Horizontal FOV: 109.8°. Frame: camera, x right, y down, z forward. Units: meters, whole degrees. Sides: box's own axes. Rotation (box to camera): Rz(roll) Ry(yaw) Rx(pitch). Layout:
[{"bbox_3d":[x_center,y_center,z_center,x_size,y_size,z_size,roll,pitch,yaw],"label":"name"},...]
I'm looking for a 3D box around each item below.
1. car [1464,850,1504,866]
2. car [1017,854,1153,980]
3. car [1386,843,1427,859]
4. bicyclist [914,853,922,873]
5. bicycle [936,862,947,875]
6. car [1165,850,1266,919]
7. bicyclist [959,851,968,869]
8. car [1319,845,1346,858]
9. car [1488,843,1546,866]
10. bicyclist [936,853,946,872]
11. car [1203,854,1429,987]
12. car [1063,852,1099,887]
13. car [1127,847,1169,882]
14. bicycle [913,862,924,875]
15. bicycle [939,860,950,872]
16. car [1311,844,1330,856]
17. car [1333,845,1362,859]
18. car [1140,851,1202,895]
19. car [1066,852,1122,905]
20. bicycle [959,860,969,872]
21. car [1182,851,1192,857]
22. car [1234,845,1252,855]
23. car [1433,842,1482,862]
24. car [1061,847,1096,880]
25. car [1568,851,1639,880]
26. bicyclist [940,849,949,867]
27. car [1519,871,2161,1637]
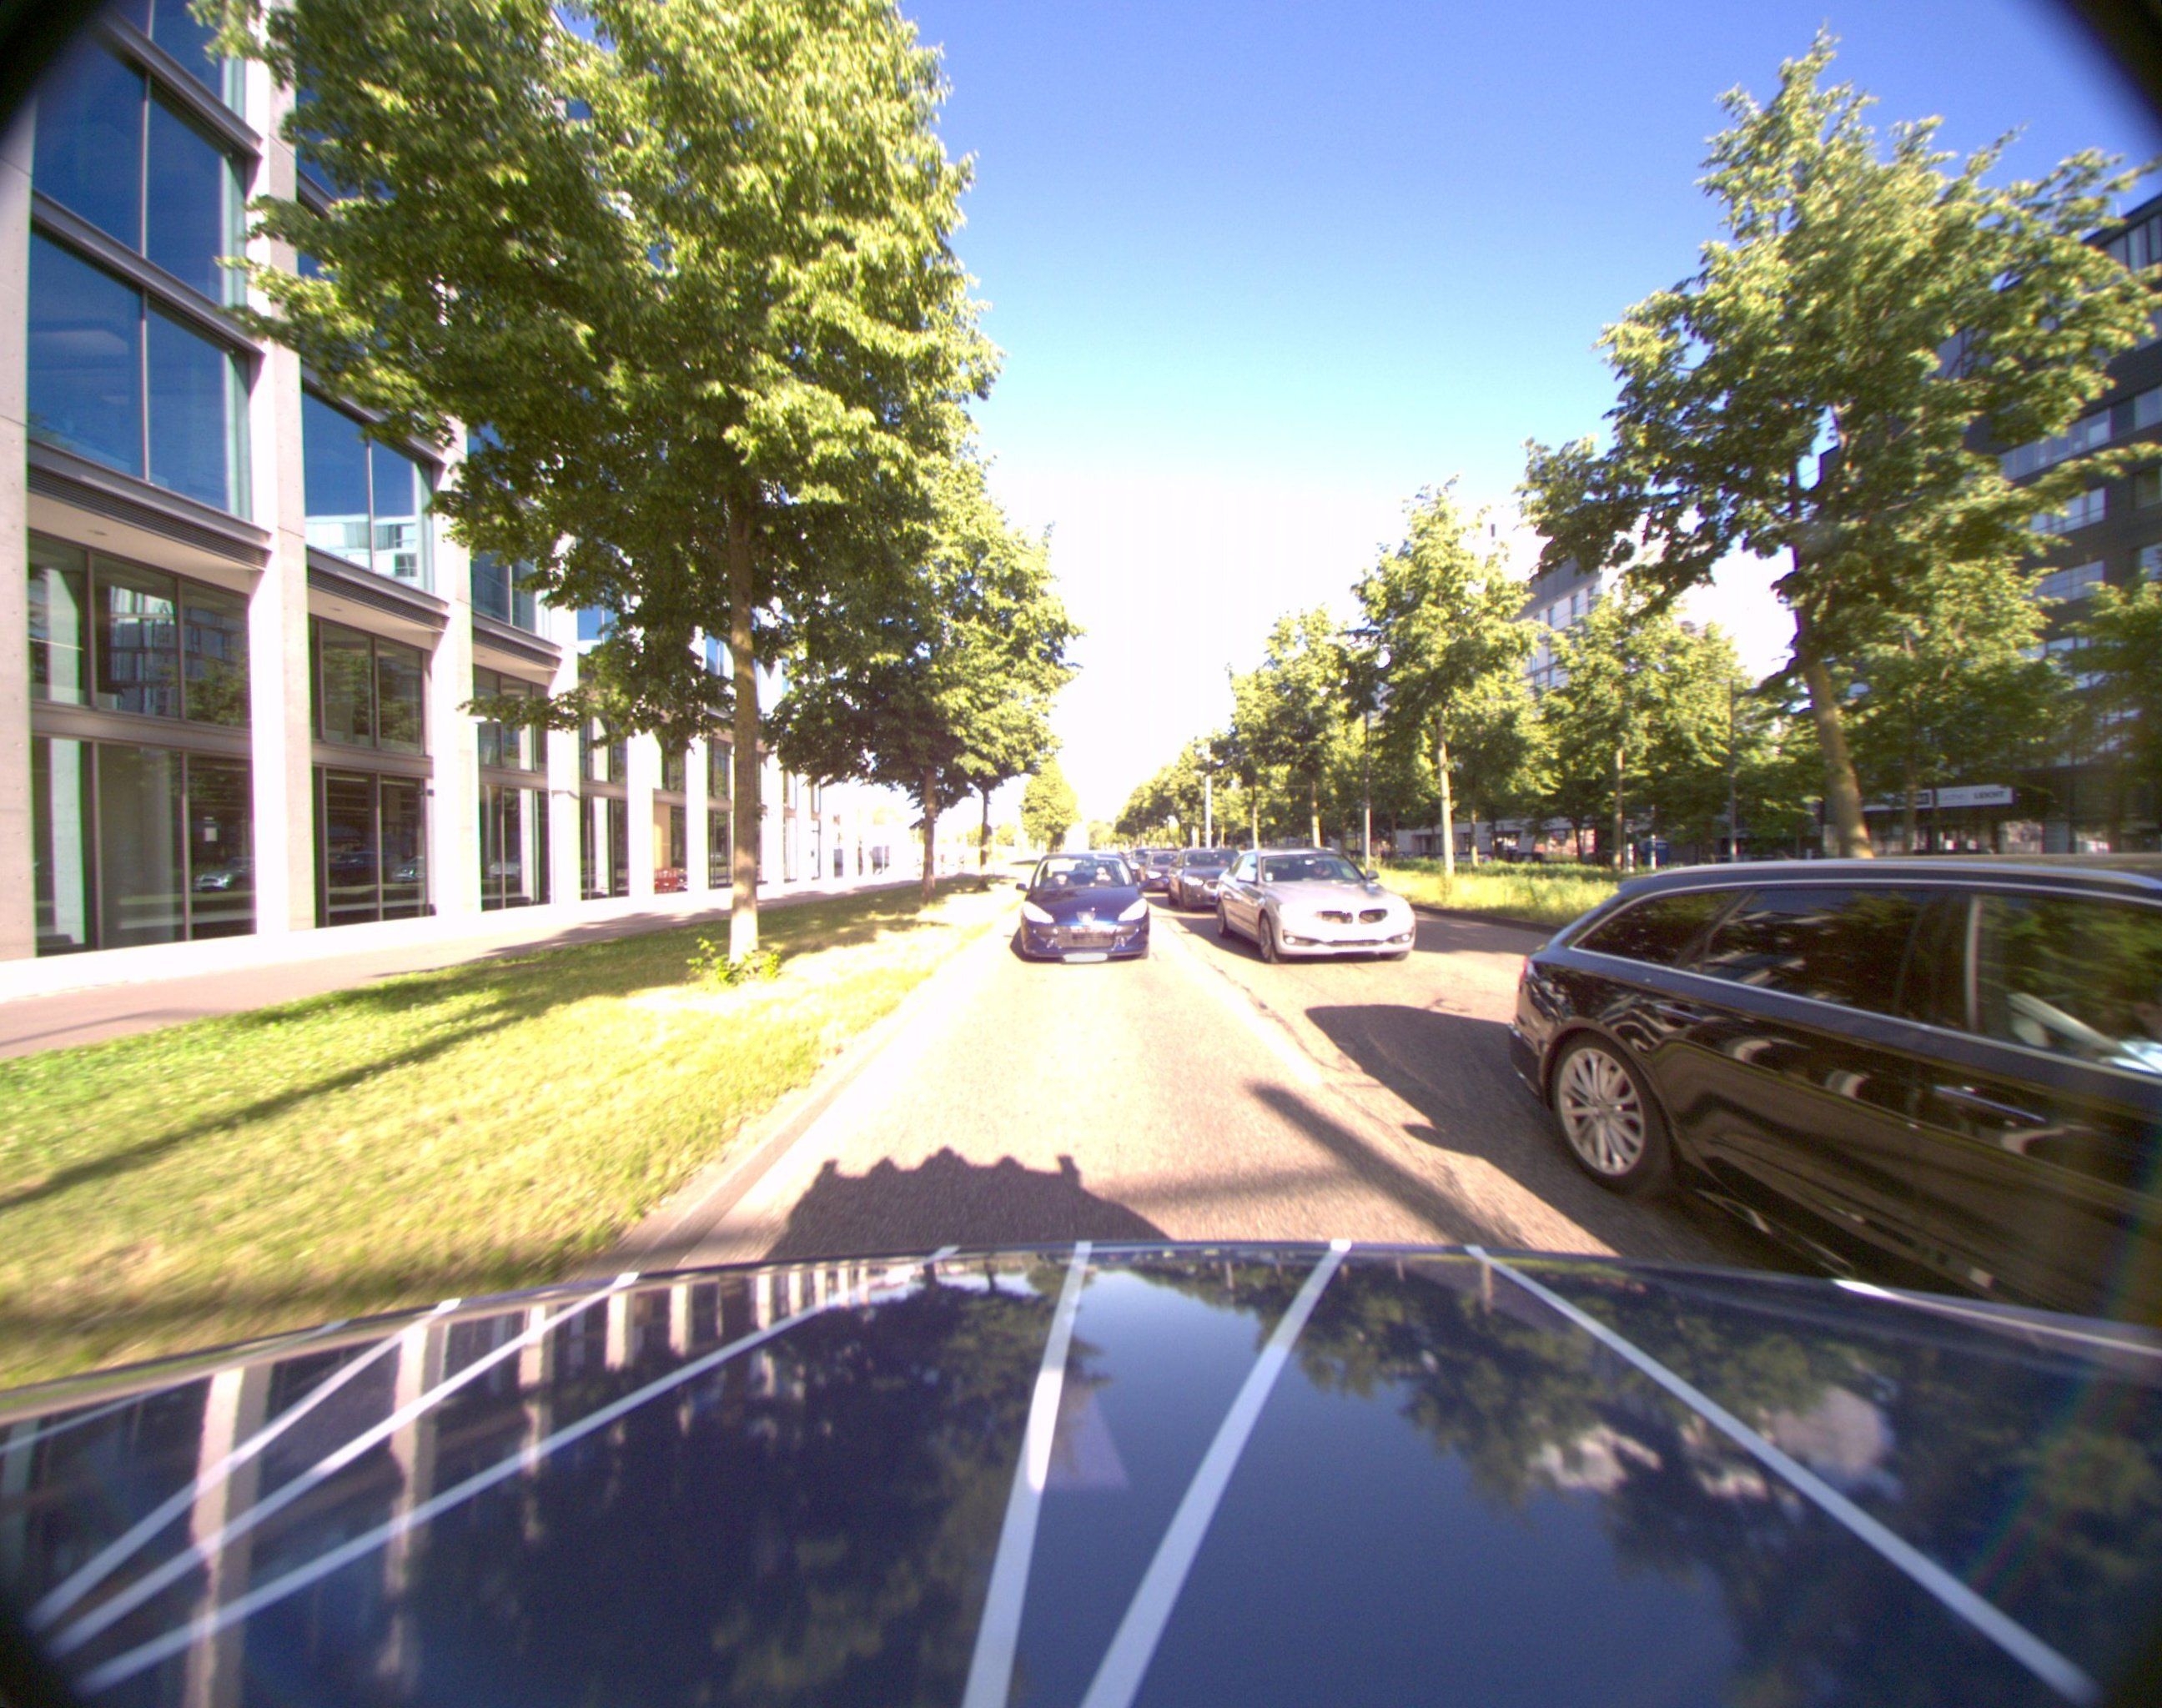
[{"bbox_3d":[38.969,0.355,73.615,1.757,1.496,3.999,0,1,0],"label":"car"},{"bbox_3d":[0.059,0.783,11.359,1.686,1.514,3.785,0,1,0],"label":"car"},{"bbox_3d":[34.345,-0.341,80.350,2.012,1.689,4.790,0,1,-3],"label":"car"},{"bbox_3d":[-10.825,0.575,50.470,0.448,1.282,0.418,-1,2,1],"label":"bicyclist"},{"bbox_3d":[-9.337,0.995,50.916,0.464,0.813,1.344,-1,1,1],"label":"bicycle"},{"bbox_3d":[3.214,0.674,18.920,1.812,1.514,4.028,0,1,0],"label":"car"},{"bbox_3d":[-8.603,0.425,55.682,0.534,1.282,0.521,-1,2,1],"label":"bicyclist"},{"bbox_3d":[34.234,-0.376,103.654,2.012,1.689,4.791,0,1,-1],"label":"car"},{"bbox_3d":[34.282,0.001,59.890,1.858,1.674,4.791,0,1,0],"label":"car"},{"bbox_3d":[-9.342,0.572,50.871,0.534,1.210,0.507,-1,2,1],"label":"bicyclist"},{"bbox_3d":[3.129,0.781,11.239,1.813,1.480,4.741,0,1,-1],"label":"car"},{"bbox_3d":[0.011,0.610,31.350,1.407,1.326,3.785,0,1,0],"label":"car"},{"bbox_3d":[3.204,0.484,36.989,1.812,1.581,4.164,0,1,1],"label":"car"},{"bbox_3d":[-10.806,0.959,50.522,0.415,0.813,1.320,-1,1,1],"label":"bicycle"},{"bbox_3d":[-9.946,0.889,55.338,0.464,0.813,1.344,-1,1,1],"label":"bicycle"},{"bbox_3d":[34.210,-0.529,108.542,1.601,1.659,3.743,0,1,0],"label":"car"},{"bbox_3d":[34.245,-0.278,97.848,2.012,1.689,4.791,0,1,-1],"label":"car"},{"bbox_3d":[3.137,0.619,27.284,1.812,1.446,4.254,0,1,1],"label":"car"},{"bbox_3d":[0.385,0.705,23.924,1.612,1.463,4.394,0,1,0],"label":"car"},{"bbox_3d":[-8.557,0.895,55.721,0.464,0.813,1.344,-1,1,1],"label":"bicycle"},{"bbox_3d":[25.401,-0.119,182.259,1.666,1.385,3.999,0,1,0],"label":"car"},{"bbox_3d":[26.075,-0.620,122.432,1.858,1.529,4.735,0,1,0],"label":"car"},{"bbox_3d":[34.622,-0.210,70.015,2.012,1.689,4.790,0,1,-3],"label":"car"},{"bbox_3d":[-0.098,0.456,39.158,1.705,1.591,3.785,0,1,0],"label":"car"},{"bbox_3d":[34.061,0.717,49.648,1.858,1.739,3.999,0,1,0],"label":"car"},{"bbox_3d":[-9.944,0.286,55.408,0.534,1.282,0.457,-1,2,1],"label":"bicyclist"},{"bbox_3d":[3.067,0.838,1.504,1.812,1.448,4.507,0,1,0],"label":"car"}]
